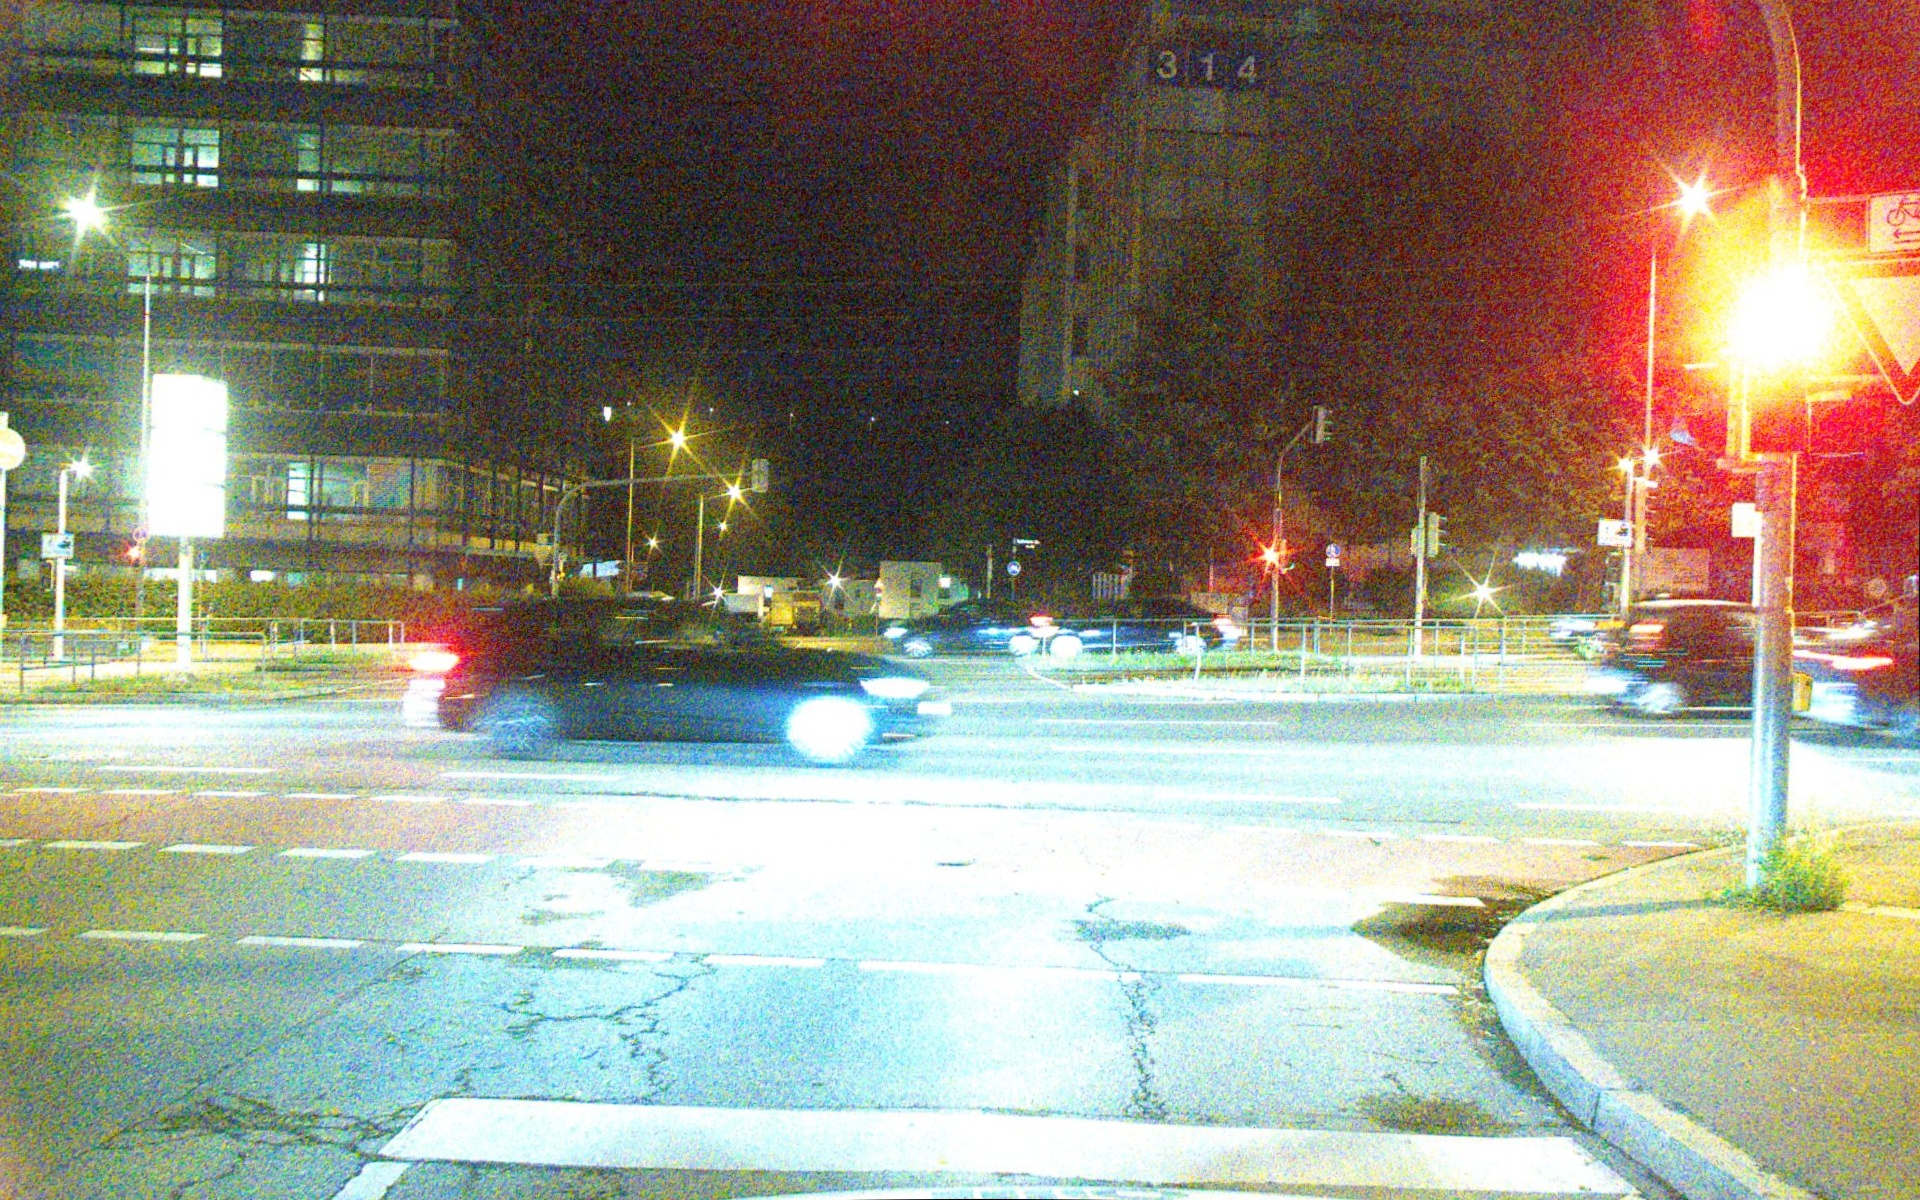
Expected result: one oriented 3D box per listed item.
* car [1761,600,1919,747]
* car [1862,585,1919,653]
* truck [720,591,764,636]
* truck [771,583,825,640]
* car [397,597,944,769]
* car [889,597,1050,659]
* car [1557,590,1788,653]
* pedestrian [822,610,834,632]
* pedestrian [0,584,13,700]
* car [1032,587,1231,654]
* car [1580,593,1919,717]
[{"bbox_3d":[11.536,0.756,18.325,4.476,1.444,1.746,-1,3,2],"label":"car"},{"bbox_3d":[22.745,0.392,36.320,4.838,1.445,1.851,-1,0,3],"label":"car"},{"bbox_3d":[-15.763,0.998,119.452,2.377,3.143,6.414,2,-1,-14],"label":"truck"},{"bbox_3d":[-14.620,1.038,148.611,3.307,4.927,7.868,2,-1,-17],"label":"truck"},{"bbox_3d":[-2.608,0.737,15.627,4.818,1.499,1.745,0,1,2],"label":"car"},{"bbox_3d":[0.268,0.671,40.149,3.790,1.429,1.769,-1,0,3],"label":"car"},{"bbox_3d":[16.995,0.510,39.629,4.718,1.445,1.851,-1,0,3],"label":"car"},{"bbox_3d":[-11.778,1.887,147.392,0.836,1.945,1.001,2,-1,-18],"label":"pedestrian"},{"bbox_3d":[-14.841,0.628,24.895,0.663,1.752,0.706,1,-1,24],"label":"pedestrian"},{"bbox_3d":[3.812,0.455,37.206,4.335,1.445,1.851,-1,0,3],"label":"car"},{"bbox_3d":[10.391,0.675,21.363,4.159,1.444,1.746,0,2,7],"label":"car"}]
